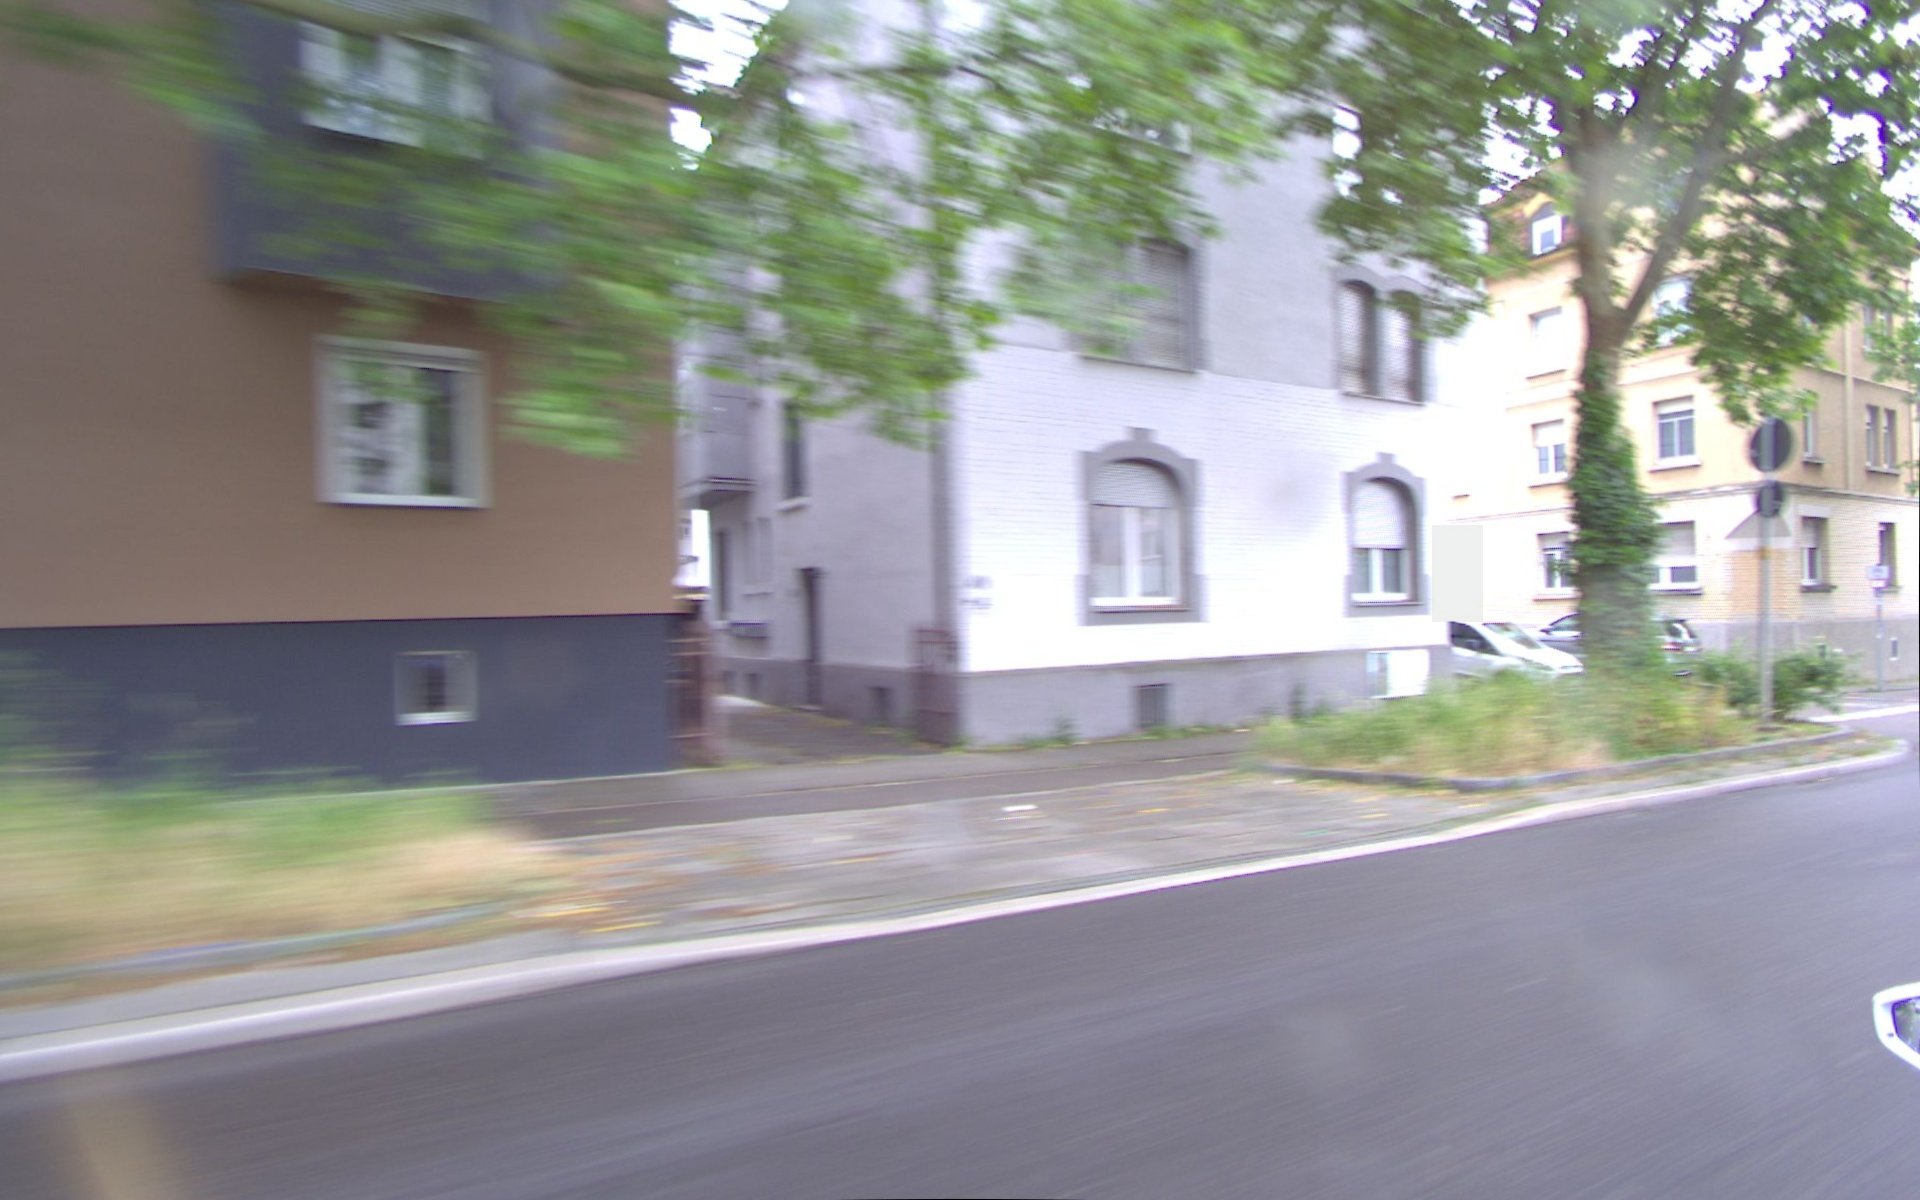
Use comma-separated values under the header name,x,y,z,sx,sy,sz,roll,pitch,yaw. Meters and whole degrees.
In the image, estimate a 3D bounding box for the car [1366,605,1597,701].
name,x,y,z,sx,sy,sz,roll,pitch,yaw
car,11.434,1.099,22.312,1.977,1.917,4.176,1,-1,-30

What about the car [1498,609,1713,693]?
name,x,y,z,sx,sy,sz,roll,pitch,yaw
car,16.203,1.222,25.441,1.977,1.917,4.176,1,-1,-30

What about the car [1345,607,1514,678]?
name,x,y,z,sx,sy,sz,roll,pitch,yaw
car,13.715,1.196,29.579,1.977,1.917,4.176,1,-1,-30
